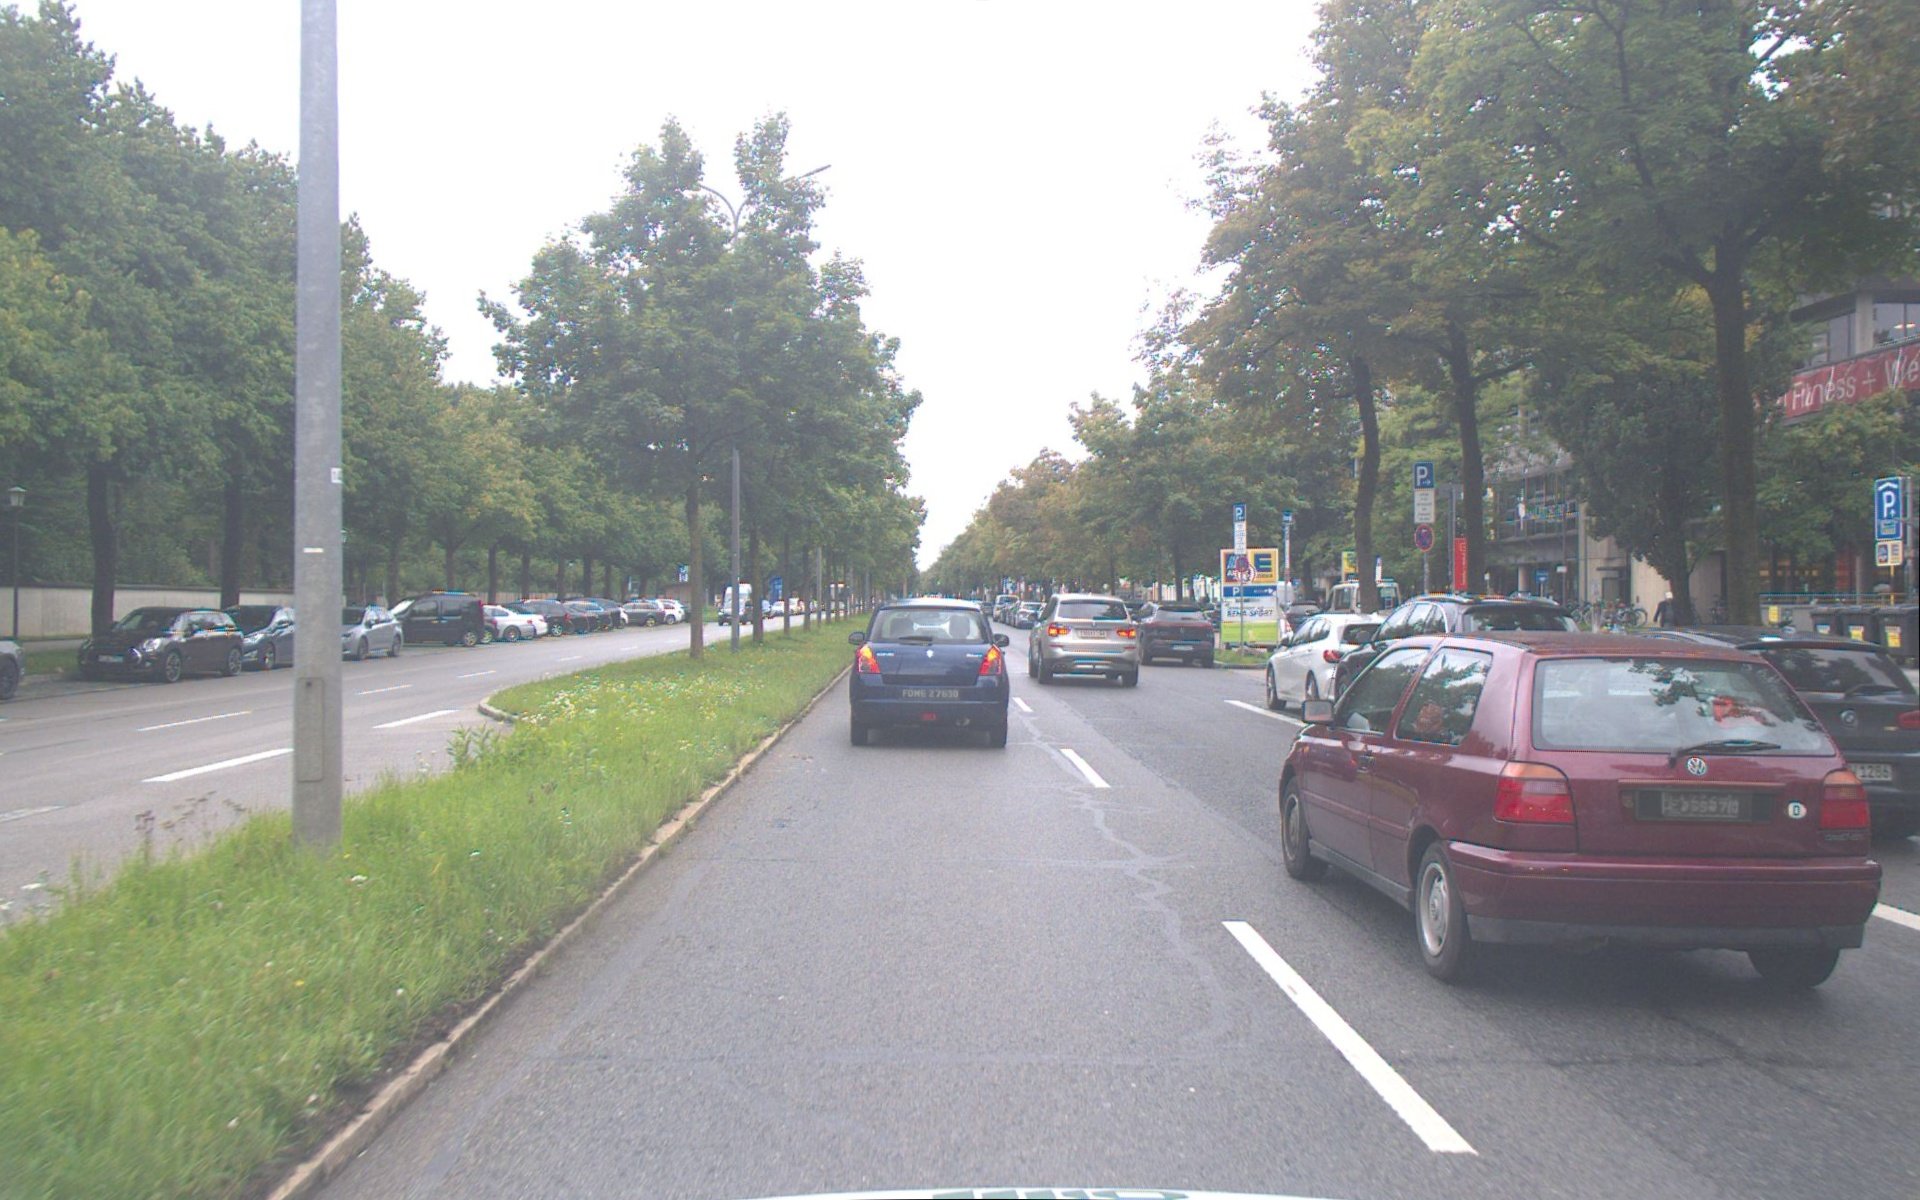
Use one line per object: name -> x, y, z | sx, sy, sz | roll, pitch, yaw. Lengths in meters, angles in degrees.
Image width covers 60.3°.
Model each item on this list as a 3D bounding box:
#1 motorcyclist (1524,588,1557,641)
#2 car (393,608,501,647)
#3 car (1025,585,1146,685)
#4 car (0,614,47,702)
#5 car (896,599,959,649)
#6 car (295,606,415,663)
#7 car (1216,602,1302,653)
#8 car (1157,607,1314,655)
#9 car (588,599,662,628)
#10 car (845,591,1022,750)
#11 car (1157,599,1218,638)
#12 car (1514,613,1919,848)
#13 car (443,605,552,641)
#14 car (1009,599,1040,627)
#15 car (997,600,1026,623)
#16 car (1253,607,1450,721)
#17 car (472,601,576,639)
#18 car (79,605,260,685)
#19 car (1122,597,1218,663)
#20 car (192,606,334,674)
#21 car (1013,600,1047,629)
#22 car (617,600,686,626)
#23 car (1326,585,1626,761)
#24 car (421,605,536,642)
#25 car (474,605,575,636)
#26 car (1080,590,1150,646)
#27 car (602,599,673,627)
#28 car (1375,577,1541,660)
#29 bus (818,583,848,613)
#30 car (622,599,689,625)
motorcyclist -> 20.246, 0.496, 57.710 | 0.677, 1.767, 0.953 | -4, 0, -1
car -> -18.860, 0.993, 60.825 | 3.534, 1.378, 1.735 | 0, 0, -32
car -> 2.323, 0.630, 31.585 | 1.813, 1.773, 4.095 | 0, 0, -3
car -> -16.477, 0.947, 26.072 | 1.625, 1.420, 4.705 | 1, 0, -1
car -> -1.041, 0.698, 50.610 | 1.813, 1.472, 4.095 | 0, 0, -3
car -> -16.922, 0.928, 46.496 | 1.602, 1.464, 4.808 | 1, 0, 0
car -> 9.461, 0.837, 52.614 | 1.729, 1.514, 3.997 | 2, 0, -4
car -> 8.769, 0.962, 52.915 | 4.744, 1.479, 1.682 | 0, 0, 37
car -> -20.466, 0.791, 101.161 | 4.060, 1.725, 1.896 | 0, 0, -35
car -> -0.359, 0.702, 18.441 | 1.753, 1.583, 3.998 | 0, 0, -3
car -> 8.952, 0.707, 65.389 | 1.713, 1.505, 4.007 | 0, 0, -3
car -> 5.866, 0.855, 12.778 | 1.600, 1.464, 4.303 | 0, 0, -2
car -> -18.905, 0.932, 67.642 | 4.000, 1.405, 1.653 | 0, 0, -37
car -> 3.908, 0.780, 100.228 | 1.650, 1.654, 4.305 | 1, 0, 0
car -> 3.600, 0.811, 115.720 | 1.651, 1.581, 4.303 | 0, 0, -4
car -> 5.459, 0.840, 23.623 | 1.620, 1.459, 4.481 | 0, 0, -2
car -> -19.272, 0.849, 73.170 | 4.070, 1.625, 1.891 | 0, 0, -41
car -> -16.481, 0.885, 34.720 | 1.538, 1.529, 4.305 | 1, 0, 3
car -> 5.363, 0.739, 42.706 | 1.726, 1.617, 4.450 | 0, 0, -3
car -> -16.808, 0.919, 40.127 | 1.554, 1.484, 4.797 | 1, 0, -2
car -> 3.986, 0.809, 94.523 | 1.650, 1.552, 4.455 | 2, 0, 0
car -> -20.158, 0.839, 108.165 | 4.060, 1.612, 1.896 | 0, 0, -35
car -> 5.505, 0.707, 18.301 | 1.751, 1.704, 4.593 | 0, 0, -2
car -> -18.740, 0.894, 64.427 | 3.956, 1.378, 1.827 | 0, 0, -36
car -> -20.027, 0.930, 76.139 | 4.153, 1.345, 1.896 | 0, 0, -35
car -> 4.914, 0.548, 52.977 | 1.726, 1.730, 4.819 | 0, 0, -1
car -> -20.332, 0.781, 104.273 | 4.060, 1.725, 1.896 | 0, 0, -35
car -> 10.763, 0.376, 35.519 | 1.934, 1.653, 4.827 | 1, 0, 36
bus -> -15.352, -0.253, 200.719 | 2.682, 3.436, 12.011 | -1, 0, -1
car -> -20.440, 0.808, 111.182 | 4.060, 1.681, 1.896 | 0, 0, -35
